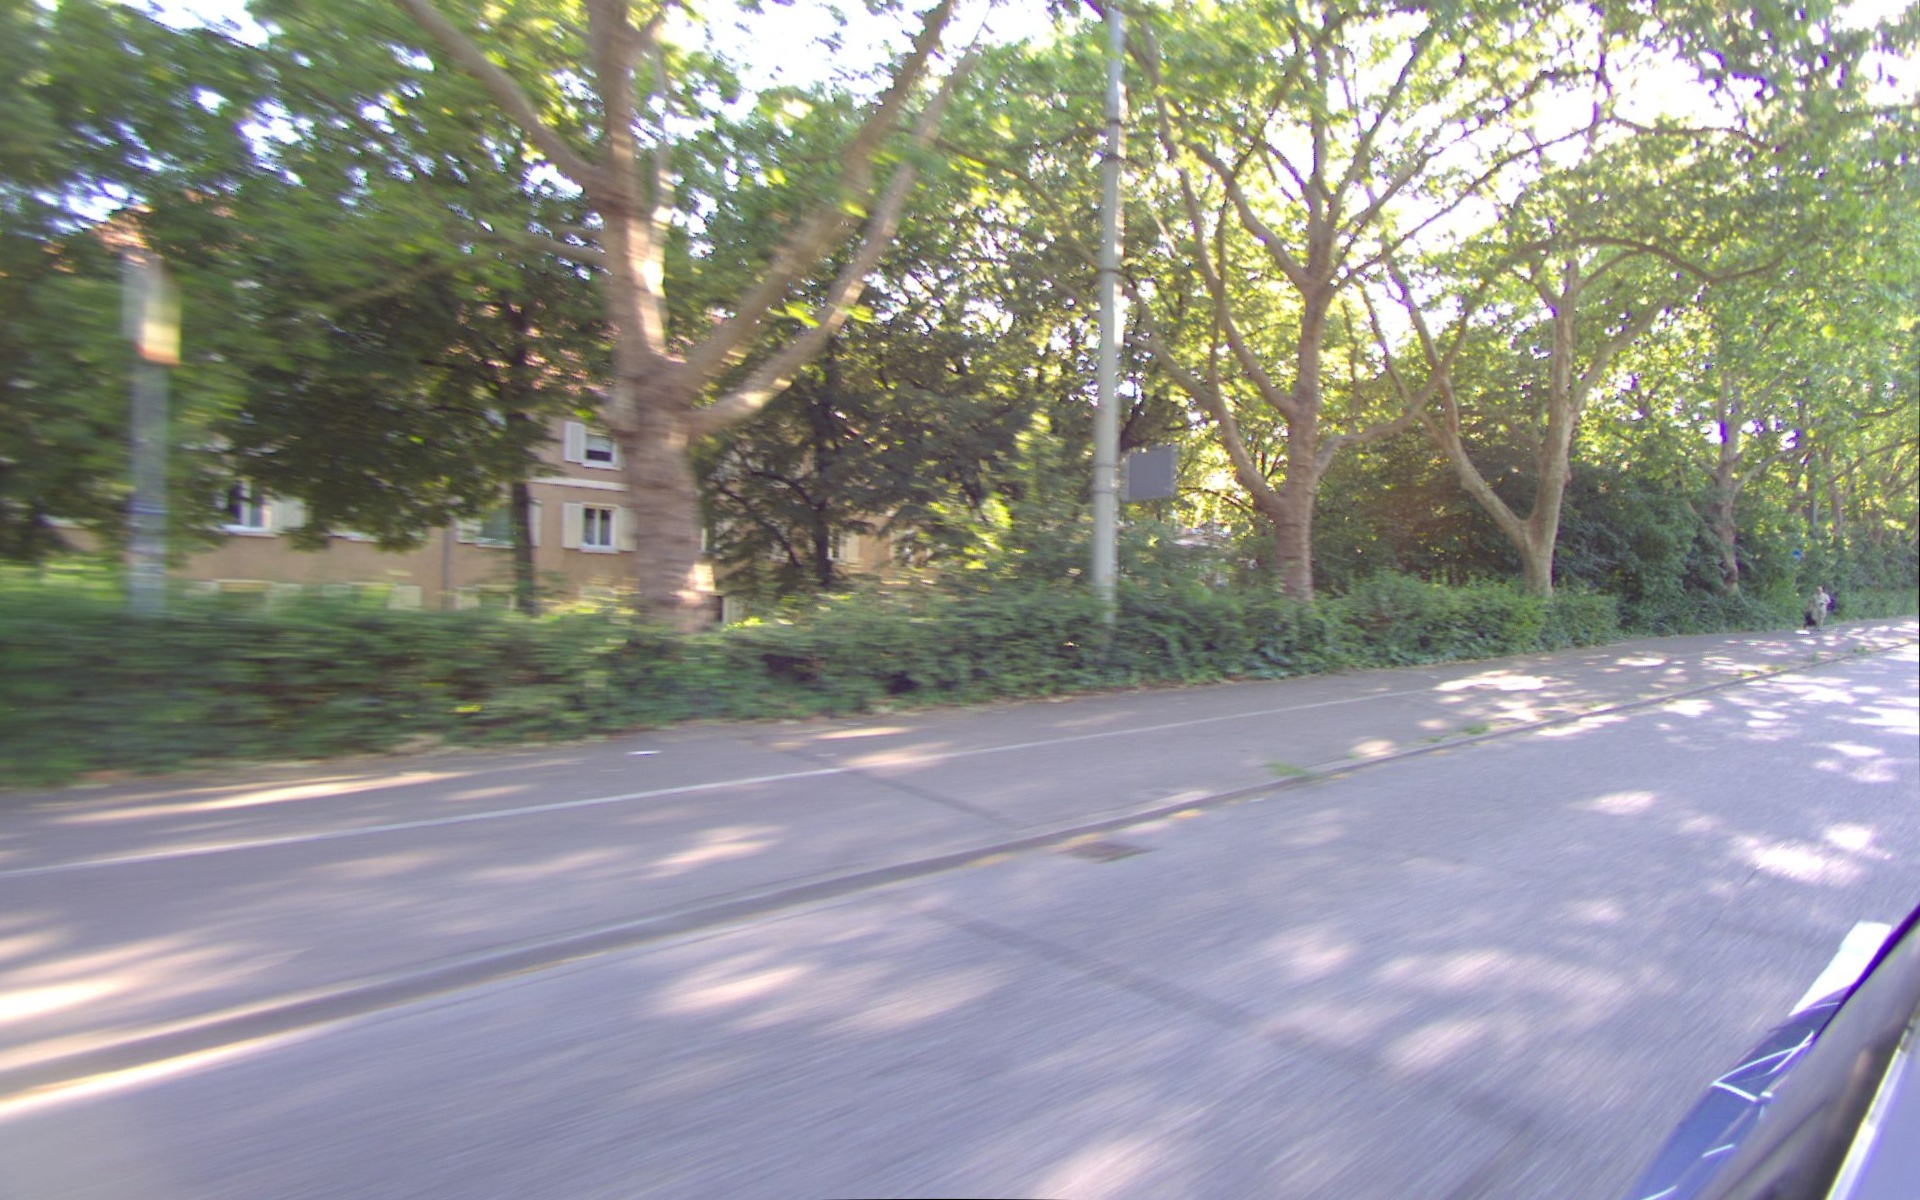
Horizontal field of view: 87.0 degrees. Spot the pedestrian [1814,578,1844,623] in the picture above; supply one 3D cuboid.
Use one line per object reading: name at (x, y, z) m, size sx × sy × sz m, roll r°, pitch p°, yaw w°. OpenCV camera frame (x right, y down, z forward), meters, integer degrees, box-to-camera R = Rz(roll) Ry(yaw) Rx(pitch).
pedestrian at (32.826, 0.020, 38.240) m, size 0.911 × 1.655 × 0.649 m, roll 0°, pitch 3°, yaw -40°
